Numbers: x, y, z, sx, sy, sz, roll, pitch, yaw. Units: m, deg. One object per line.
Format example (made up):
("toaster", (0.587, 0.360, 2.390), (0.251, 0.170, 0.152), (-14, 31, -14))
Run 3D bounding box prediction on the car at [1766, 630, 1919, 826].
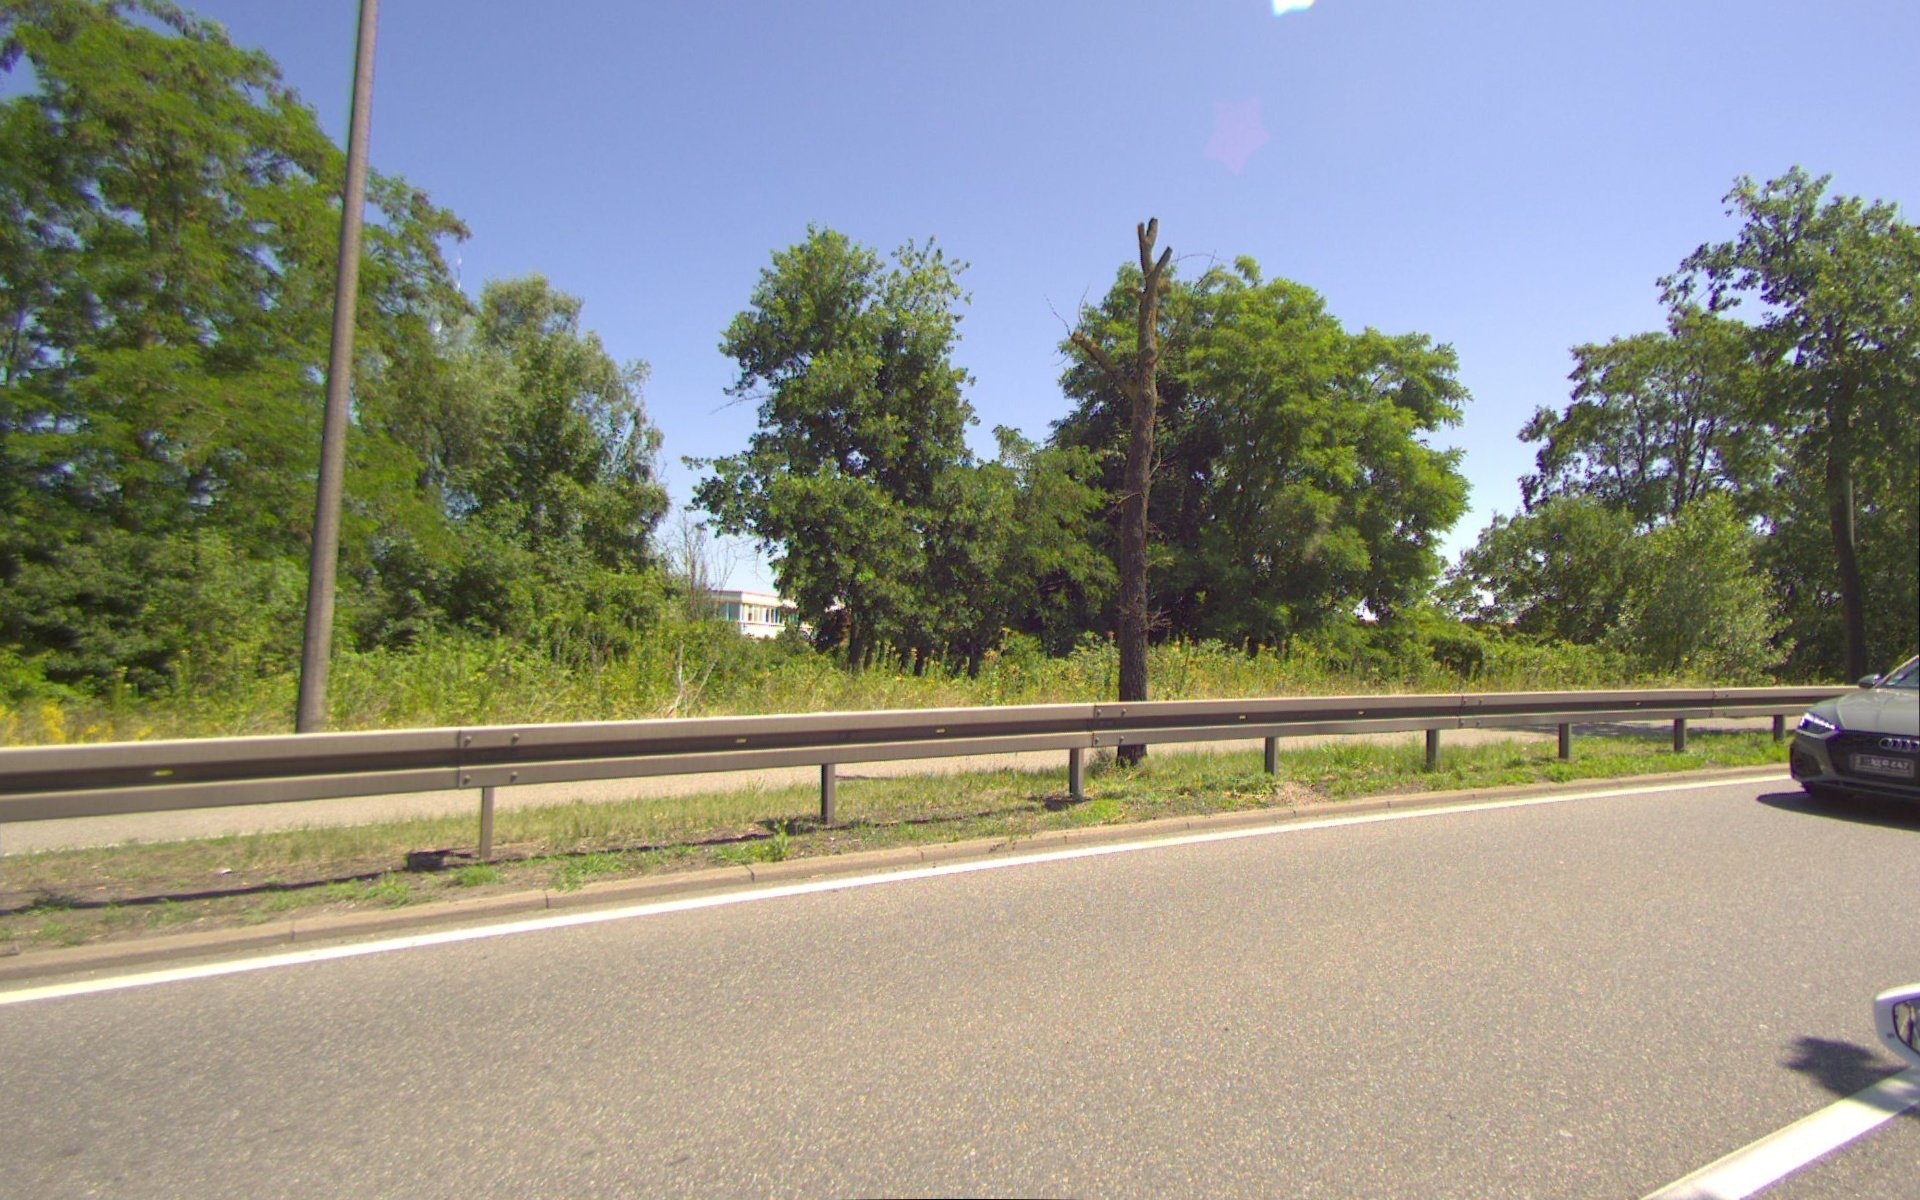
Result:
("car", (9.042, 1.019, 8.501), (4.347, 1.414, 1.754), (2, 0, -26))
